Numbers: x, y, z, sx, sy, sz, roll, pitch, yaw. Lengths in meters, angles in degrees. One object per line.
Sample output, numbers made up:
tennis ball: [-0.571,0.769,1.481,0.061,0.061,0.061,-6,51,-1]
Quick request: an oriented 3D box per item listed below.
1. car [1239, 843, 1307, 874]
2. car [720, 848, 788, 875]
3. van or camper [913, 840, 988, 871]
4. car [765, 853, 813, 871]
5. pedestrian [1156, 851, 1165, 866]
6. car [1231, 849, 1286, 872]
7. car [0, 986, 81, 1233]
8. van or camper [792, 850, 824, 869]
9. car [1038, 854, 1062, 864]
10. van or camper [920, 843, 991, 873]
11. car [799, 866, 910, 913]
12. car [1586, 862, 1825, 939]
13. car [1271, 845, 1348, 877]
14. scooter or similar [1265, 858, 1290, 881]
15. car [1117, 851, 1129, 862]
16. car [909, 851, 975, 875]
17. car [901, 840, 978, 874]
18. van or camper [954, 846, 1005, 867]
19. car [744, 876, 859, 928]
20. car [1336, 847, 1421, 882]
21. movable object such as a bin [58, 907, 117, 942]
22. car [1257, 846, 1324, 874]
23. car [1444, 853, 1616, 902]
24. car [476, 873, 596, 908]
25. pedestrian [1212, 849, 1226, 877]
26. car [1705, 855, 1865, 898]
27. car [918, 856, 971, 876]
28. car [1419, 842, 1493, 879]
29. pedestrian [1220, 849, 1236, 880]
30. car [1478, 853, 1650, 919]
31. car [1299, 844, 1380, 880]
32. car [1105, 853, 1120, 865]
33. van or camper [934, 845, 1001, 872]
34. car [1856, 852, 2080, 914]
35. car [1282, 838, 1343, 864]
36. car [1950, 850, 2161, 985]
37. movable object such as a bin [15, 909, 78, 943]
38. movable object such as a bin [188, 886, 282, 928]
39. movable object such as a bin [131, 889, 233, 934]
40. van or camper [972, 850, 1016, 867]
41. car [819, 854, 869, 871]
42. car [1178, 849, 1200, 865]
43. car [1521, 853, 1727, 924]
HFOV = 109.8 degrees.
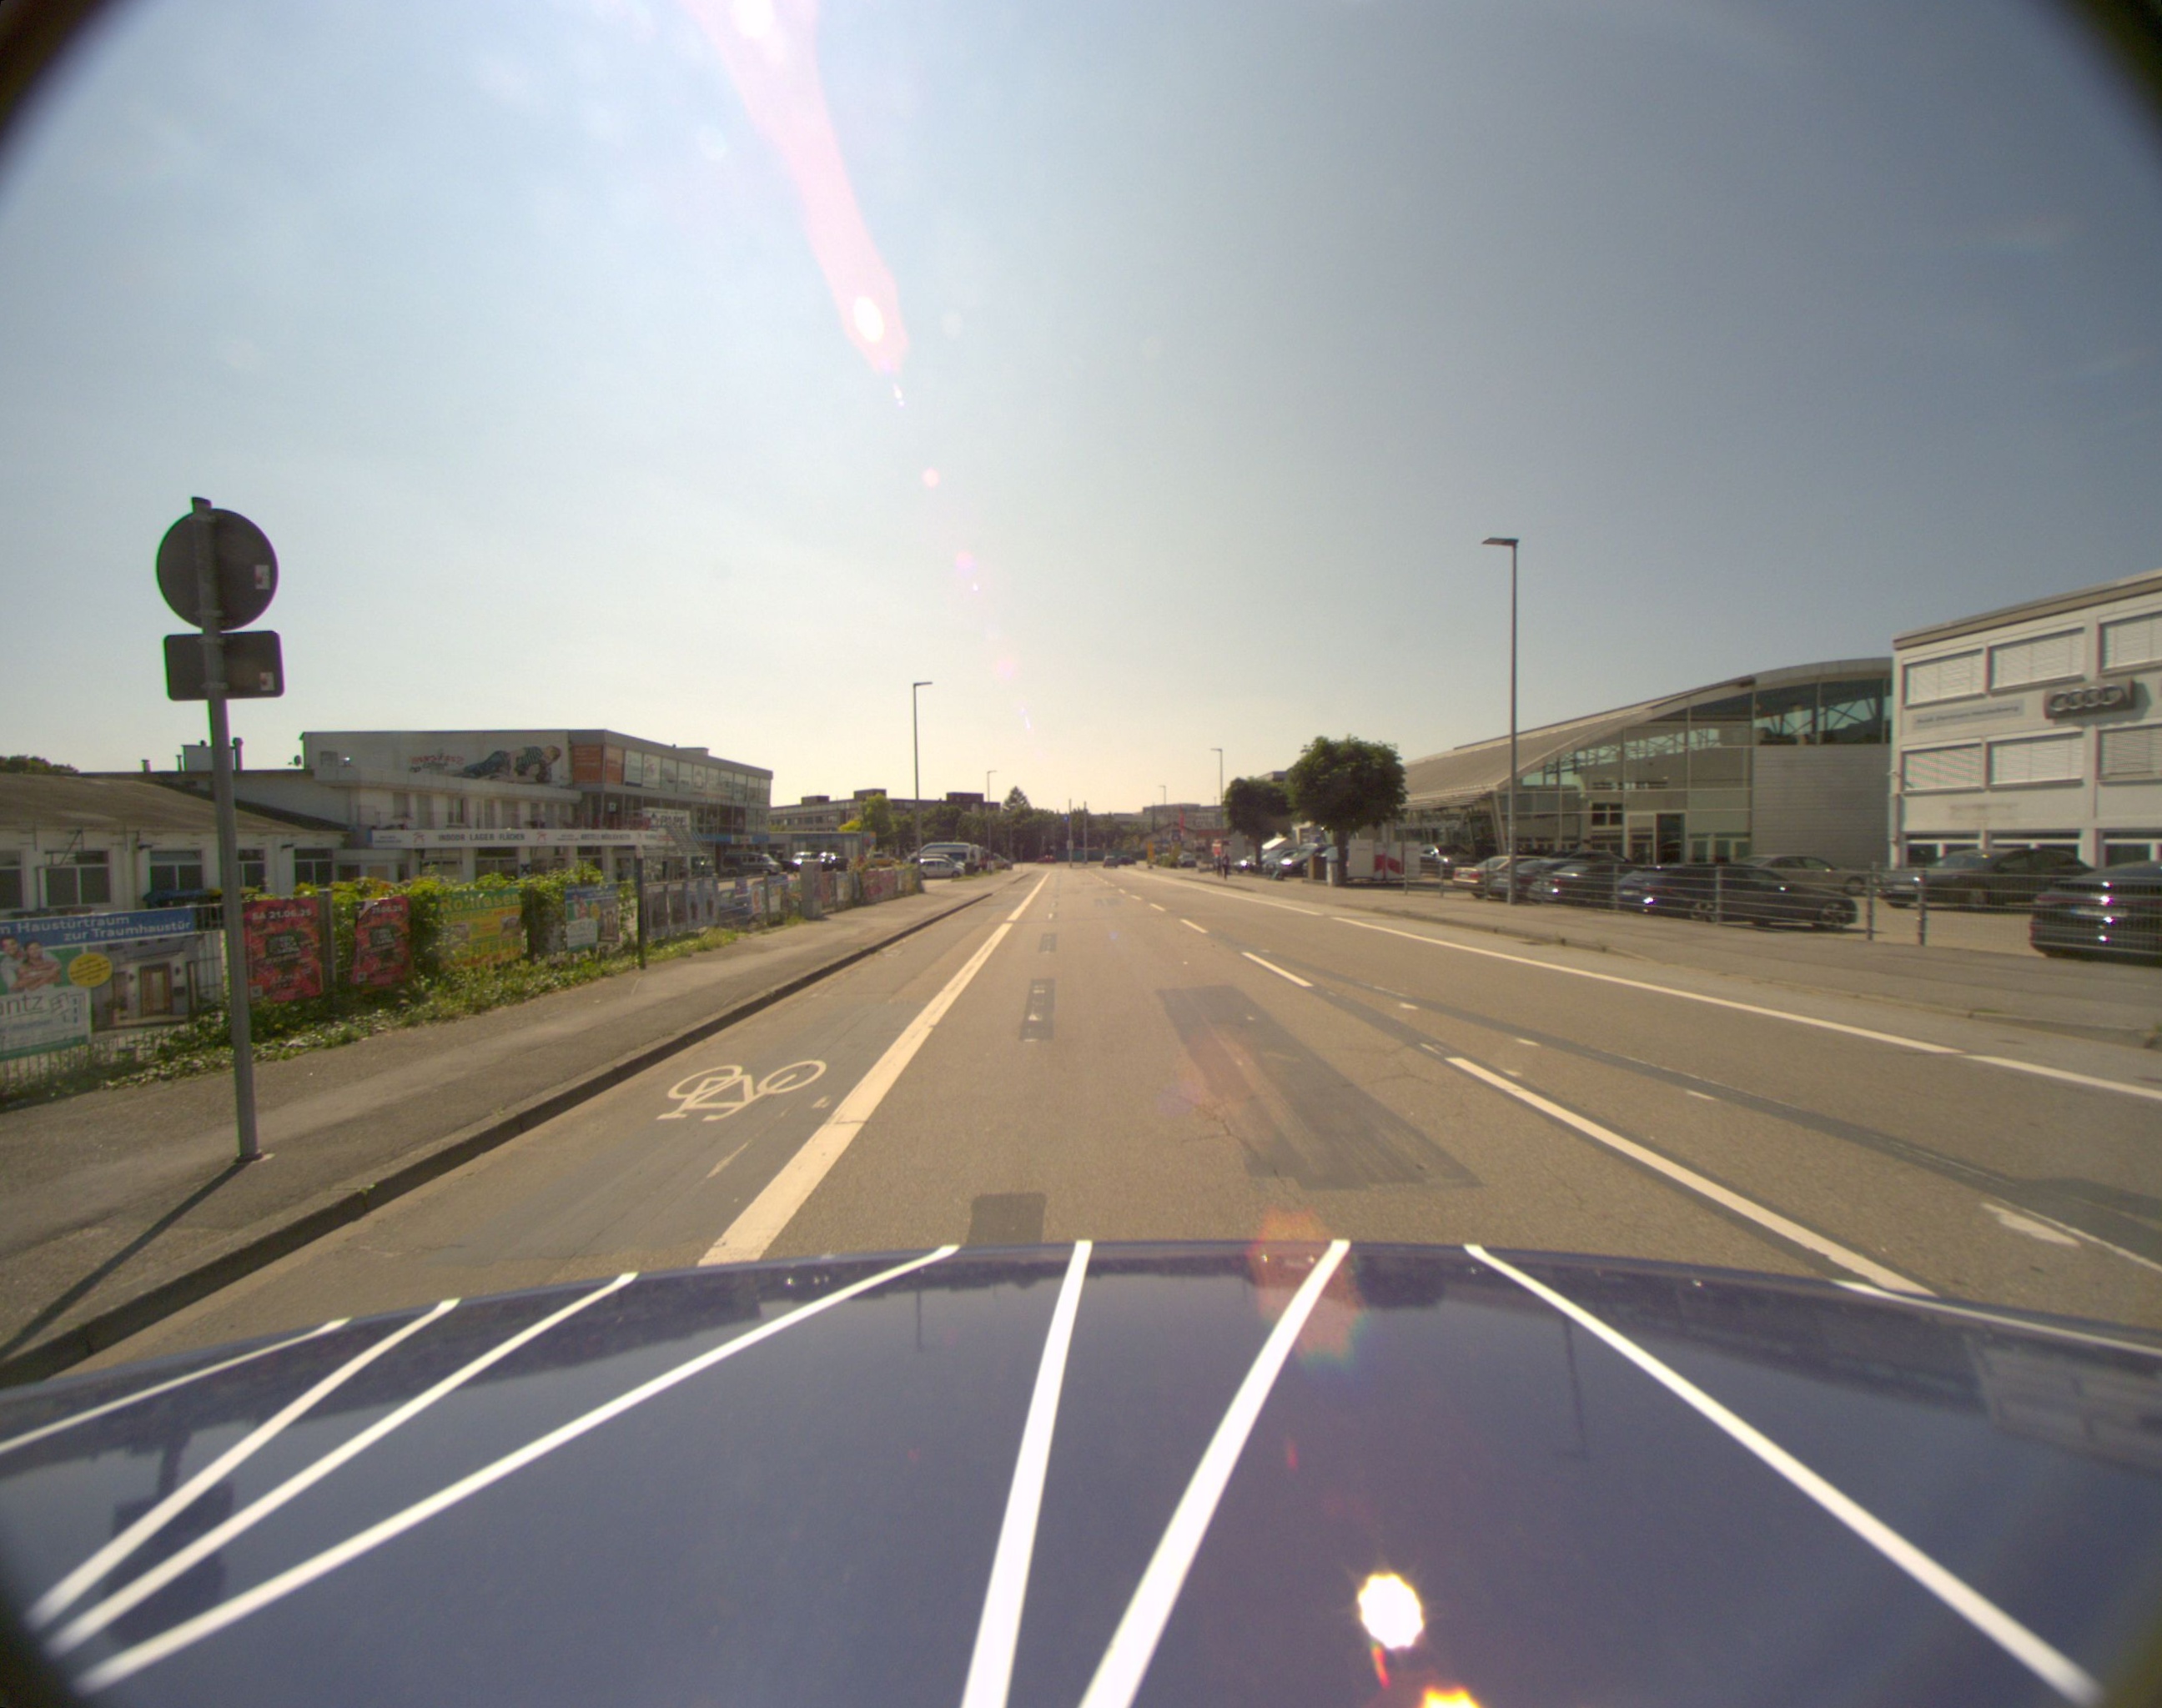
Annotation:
car: [13.178,0.297,51.940,4.489,1.599,1.961,-5,-2,-37]
car: [-30.338,0.684,70.661,5.313,2.405,2.324,-1,0,-6]
van or camper: [-11.878,0.111,69.645,6.366,2.684,2.712,-1,0,-1]
car: [-29.245,0.831,76.147,4.117,1.723,1.999,-1,0,-5]
pedestrian: [9.179,0.495,87.399,0.996,1.676,0.800,-1,1,10]
car: [12.954,0.484,55.235,4.168,1.451,1.903,-3,1,-44]
car: [-9.067,1.800,4.842,3.476,1.592,1.892,-2,0,12]
van or camper: [-29.455,0.561,82.232,2.124,2.002,5.112,-1,0,-7]
car: [-5.833,0.964,142.556,3.989,1.696,2.004,-2,0,34]
van or camper: [-11.894,0.336,72.552,6.366,2.700,2.712,-1,0,-1]
car: [-9.701,1.476,32.317,5.033,1.613,2.026,-2,5,41]
car: [14.047,1.000,17.243,3.999,1.482,1.857,-1,3,-5]
car: [13.234,0.377,43.883,4.588,1.687,1.854,-2,0,-37]
scooter or similar: [10.740,0.830,41.529,0.746,1.240,1.489,-2,0,-9]
car: [6.070,0.341,109.609,1.664,1.446,4.241,1,0,1]
car: [-11.683,0.749,64.075,5.248,1.940,2.000,0,0,-2]
car: [-12.335,0.271,66.661,6.244,2.853,2.320,-1,1,-1]
van or camper: [-13.630,0.287,101.988,6.376,2.621,2.526,-1,1,-37]
car: [-9.797,1.636,26.565,3.819,1.607,1.897,-2,0,36]
car: [14.704,0.512,37.528,4.006,1.541,1.855,-2,0,-32]
movable object such as a bin: [-33.084,2.340,25.312,0.748,1.030,0.876,-2,1,-6]
car: [13.184,0.373,47.715,4.210,1.486,1.870,-3,2,-37]
car: [14.591,0.732,24.840,4.537,1.449,1.900,-1,0,-3]
car: [-26.869,1.766,37.546,4.562,1.283,1.890,-4,1,-43]
pedestrian: [9.153,0.608,50.485,0.725,1.838,0.911,-1,1,-1]
car: [24.882,0.780,26.940,3.997,1.351,1.859,-2,0,-2]
car: [-10.992,0.958,61.238,3.932,1.584,1.798,-1,0,-2]
car: [18.151,0.282,37.008,1.997,1.674,4.002,-1,0,7]
pedestrian: [8.765,0.610,45.441,0.734,1.857,1.047,-1,1,0]
car: [14.000,0.891,22.144,3.901,1.436,1.821,-5,3,-6]
car: [13.985,0.398,41.041,4.488,1.698,1.906,-3,1,-37]
car: [3.906,0.621,93.454,1.745,1.396,4.326,-1,0,5]
van or camper: [-11.133,0.403,75.193,6.212,2.510,2.618,-1,0,-1]
car: [24.744,0.761,21.281,4.366,1.544,1.858,-2,0,-4]
car: [17.249,-0.218,56.941,2.001,1.710,4.725,-5,1,-17]
car: [14.680,0.732,10.082,4.309,1.549,1.994,-1,0,-5]
movable object such as a bin: [-33.093,2.285,24.316,0.748,0.986,0.876,-2,1,-6]
movable object such as a bin: [-32.821,2.027,29.516,1.575,1.447,1.824,-2,0,-6]
movable object such as a bin: [-32.695,2.067,27.687,1.575,1.447,1.754,-2,0,-6]
van or camper: [-10.717,0.534,93.722,5.145,1.950,1.981,0,1,-32]
car: [-24.020,0.840,77.118,4.551,1.668,1.999,-1,0,-5]
car: [11.940,0.275,84.070,1.910,1.705,4.000,-1,0,1]
car: [13.928,0.847,19.639,3.999,1.435,1.858,5,0,-4]
